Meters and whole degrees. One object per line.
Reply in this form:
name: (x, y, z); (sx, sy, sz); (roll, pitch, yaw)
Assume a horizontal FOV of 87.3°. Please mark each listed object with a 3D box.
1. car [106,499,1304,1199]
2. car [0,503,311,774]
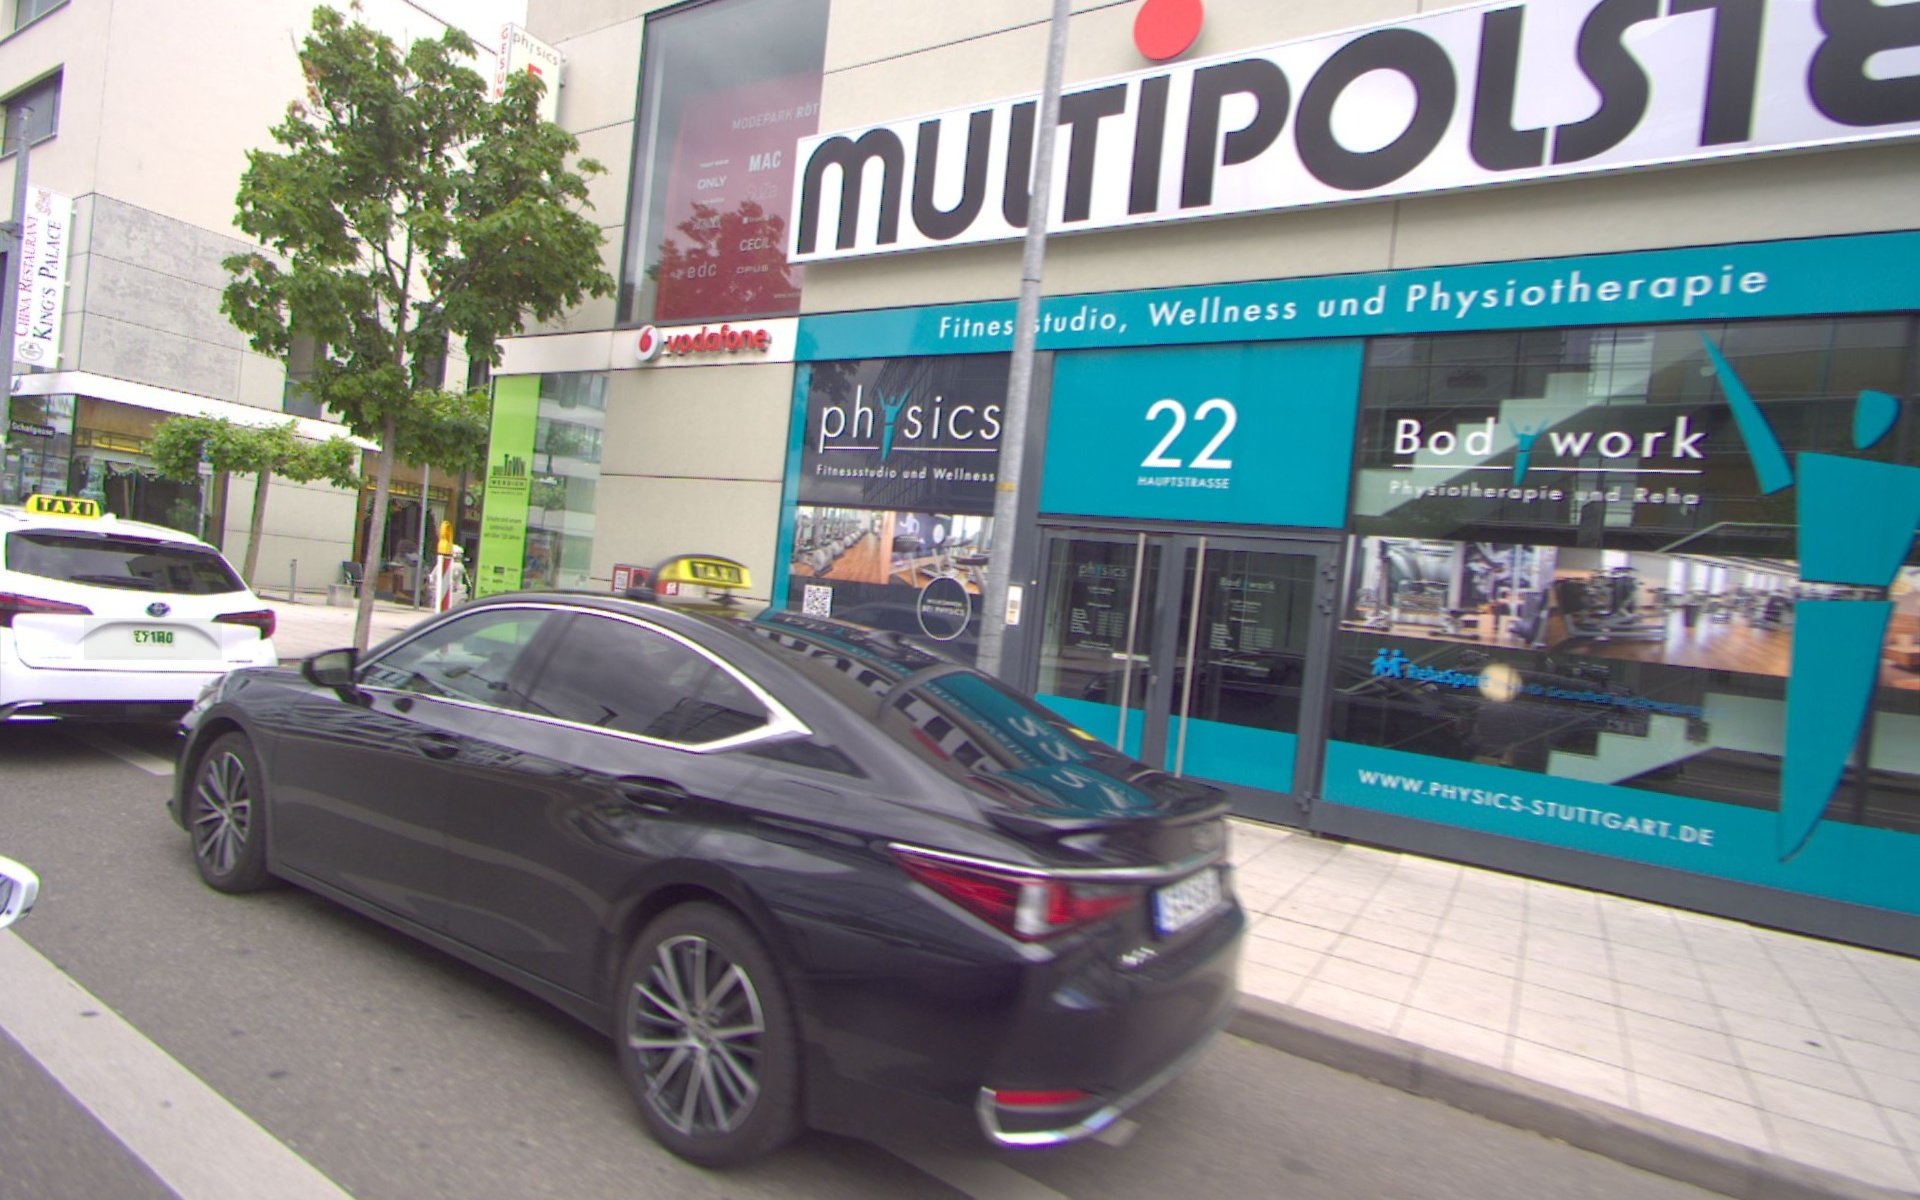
car: (-1.315, 0.622, 4.034); (4.711, 1.560, 1.739); (6, -1, 32)
car: (-6.694, 0.050, 7.000); (4.439, 1.443, 1.785); (6, -1, 31)
